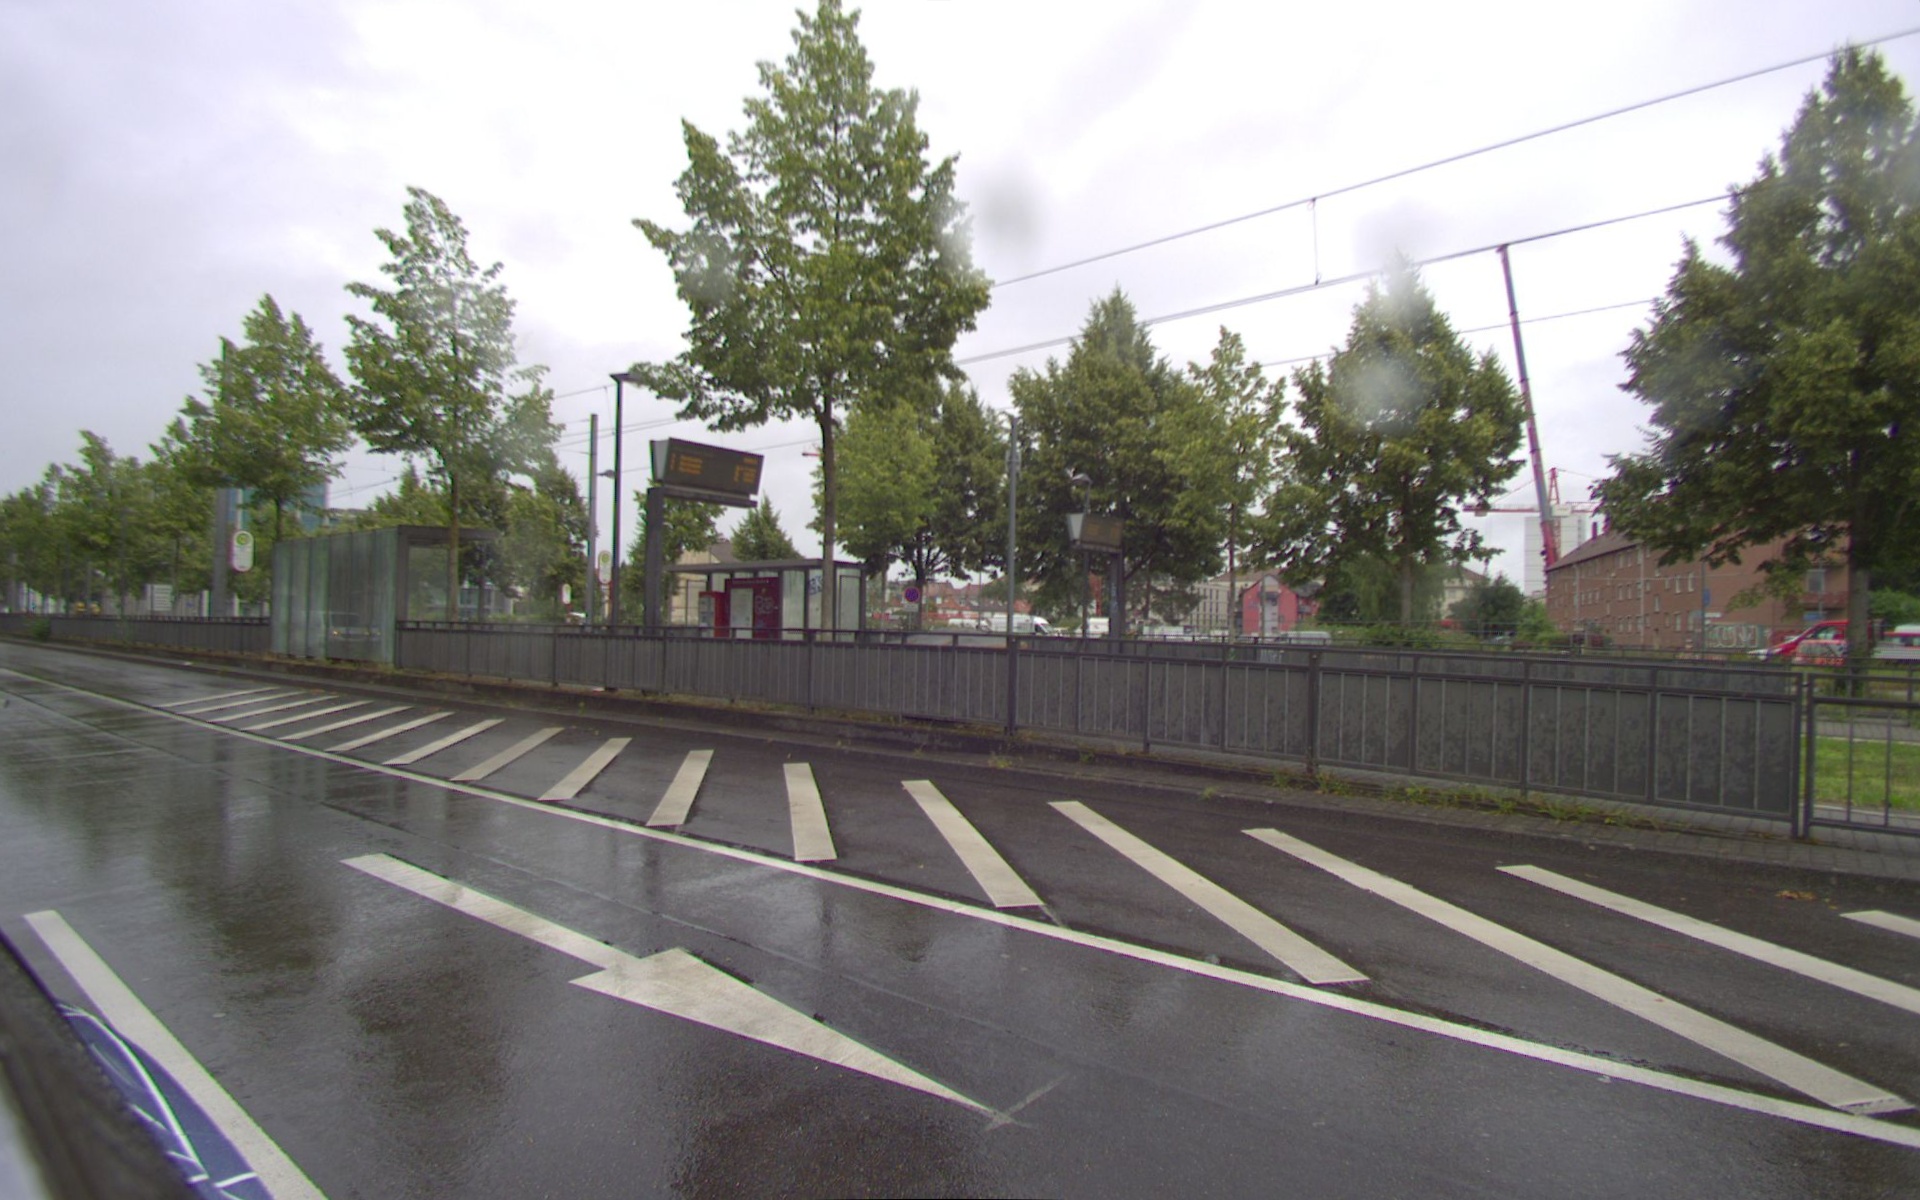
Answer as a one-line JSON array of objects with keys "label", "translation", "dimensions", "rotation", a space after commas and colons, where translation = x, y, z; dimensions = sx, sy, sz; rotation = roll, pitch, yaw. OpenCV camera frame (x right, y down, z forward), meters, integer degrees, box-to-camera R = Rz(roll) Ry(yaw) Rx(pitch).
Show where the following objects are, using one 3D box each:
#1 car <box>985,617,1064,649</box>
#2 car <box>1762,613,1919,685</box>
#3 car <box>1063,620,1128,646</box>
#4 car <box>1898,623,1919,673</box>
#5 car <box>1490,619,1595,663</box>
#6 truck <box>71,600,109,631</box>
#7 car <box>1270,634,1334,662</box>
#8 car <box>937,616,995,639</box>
[{"label": "car", "translation": [5.418, 2.743, 85.794], "dimensions": [6.735, 2.480, 1.975], "rotation": [0, 0, 37]}, {"label": "car", "translation": [33.445, 1.754, 36.781], "dimensions": [1.597, 2.489, 6.500], "rotation": [2, -2, -39]}, {"label": "car", "translation": [11.838, 2.857, 88.775], "dimensions": [5.411, 2.067, 1.976], "rotation": [0, 0, 37]}, {"label": "car", "translation": [45.957, 2.150, 44.942], "dimensions": [1.597, 2.296, 6.114], "rotation": [2, -3, -37]}, {"label": "car", "translation": [35.935, 2.478, 62.549], "dimensions": [5.482, 2.471, 1.976], "rotation": [0, 0, 36]}, {"label": "truck", "translation": [-109.658, 1.893, 127.471], "dimensions": [9.184, 3.806, 2.657], "rotation": [0, 0, 43]}, {"label": "car", "translation": [26.303, 3.661, 77.882], "dimensions": [4.415, 1.891, 1.855], "rotation": [0, 0, 34]}, {"label": "car", "translation": [0.595, 2.962, 108.318], "dimensions": [6.123, 2.323, 1.978], "rotation": [0, 0, 32]}]
